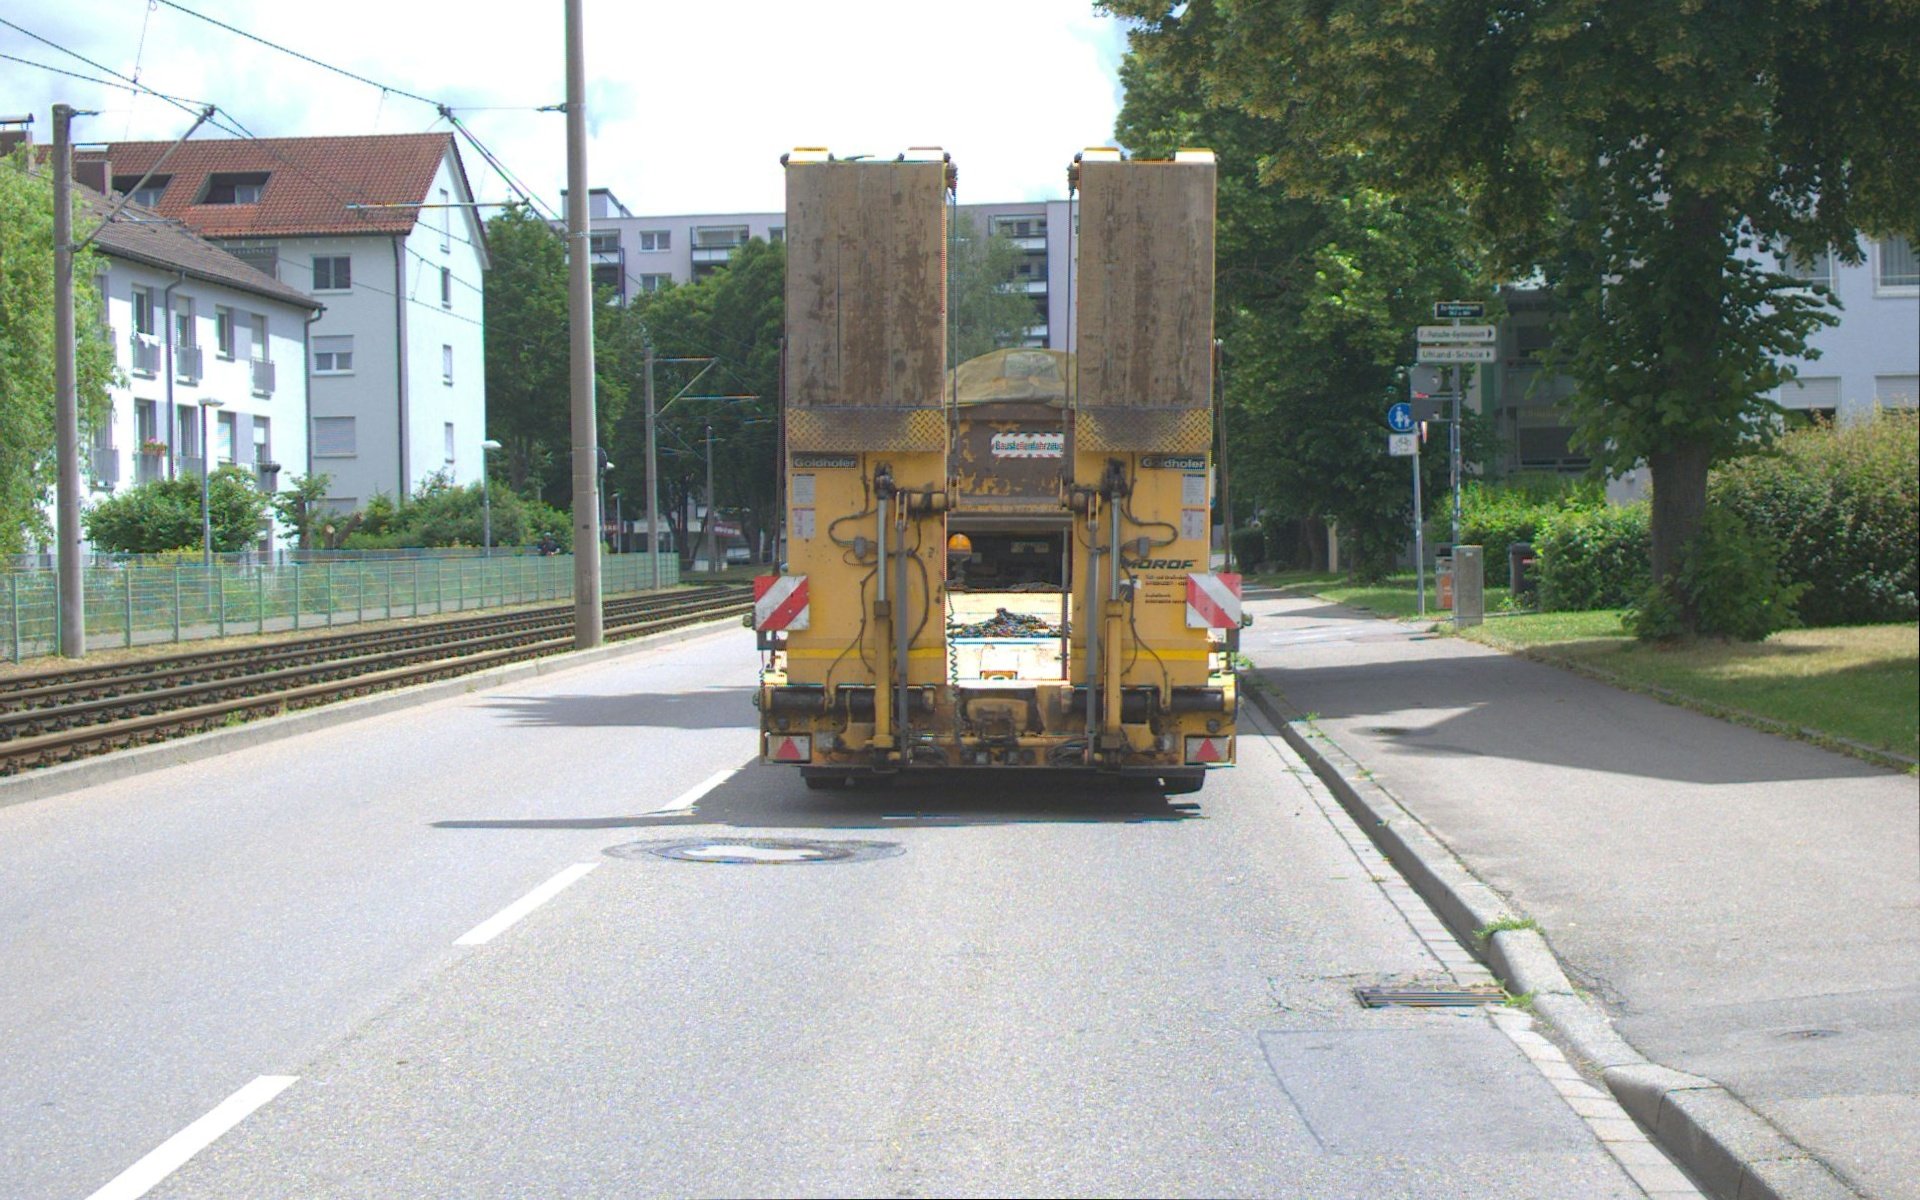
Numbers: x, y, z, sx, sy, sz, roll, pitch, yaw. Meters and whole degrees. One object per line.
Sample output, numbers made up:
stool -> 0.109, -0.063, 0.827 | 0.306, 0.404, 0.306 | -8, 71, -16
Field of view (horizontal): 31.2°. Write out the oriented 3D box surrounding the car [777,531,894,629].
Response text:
car -> -1.966, -0.343, 55.187 | 1.624, 1.520, 3.581 | 0, 1, 2

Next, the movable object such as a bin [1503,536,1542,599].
movable object such as a bin -> 8.651, -0.506, 52.853 | 0.496, 0.951, 0.580 | -2, 1, 3

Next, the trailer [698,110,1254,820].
trailer -> -0.012, -0.790, 23.974 | 2.827, 3.633, 12.355 | 1, 1, -1
